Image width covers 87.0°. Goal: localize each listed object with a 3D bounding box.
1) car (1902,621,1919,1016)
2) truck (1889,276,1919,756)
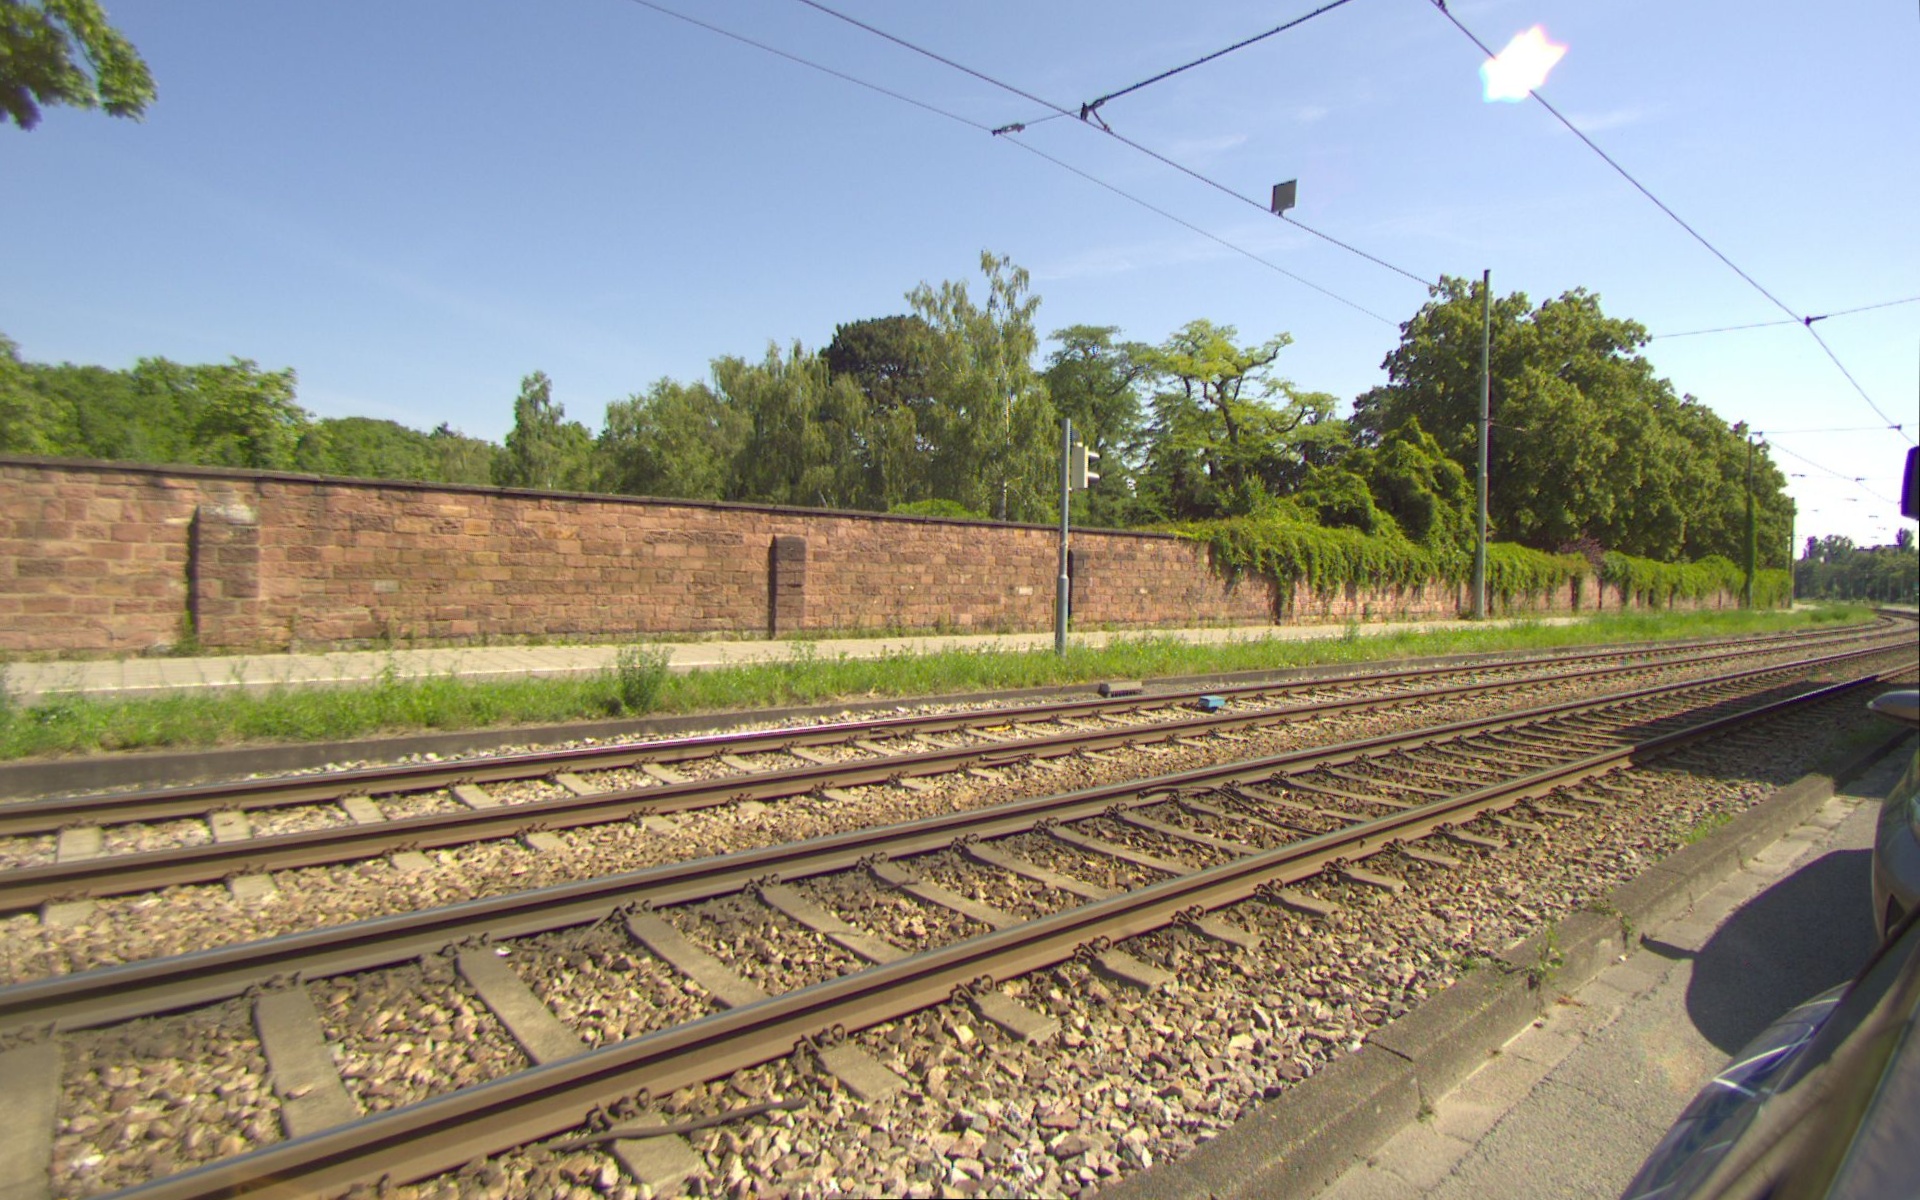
[{"bbox_3d":[5.106,0.663,4.004,3.930,1.448,1.573,0,2,-41],"label":"car"},{"bbox_3d":[14.244,-0.638,12.056,14.652,3.927,2.934,0,2,-41],"label":"truck"}]
